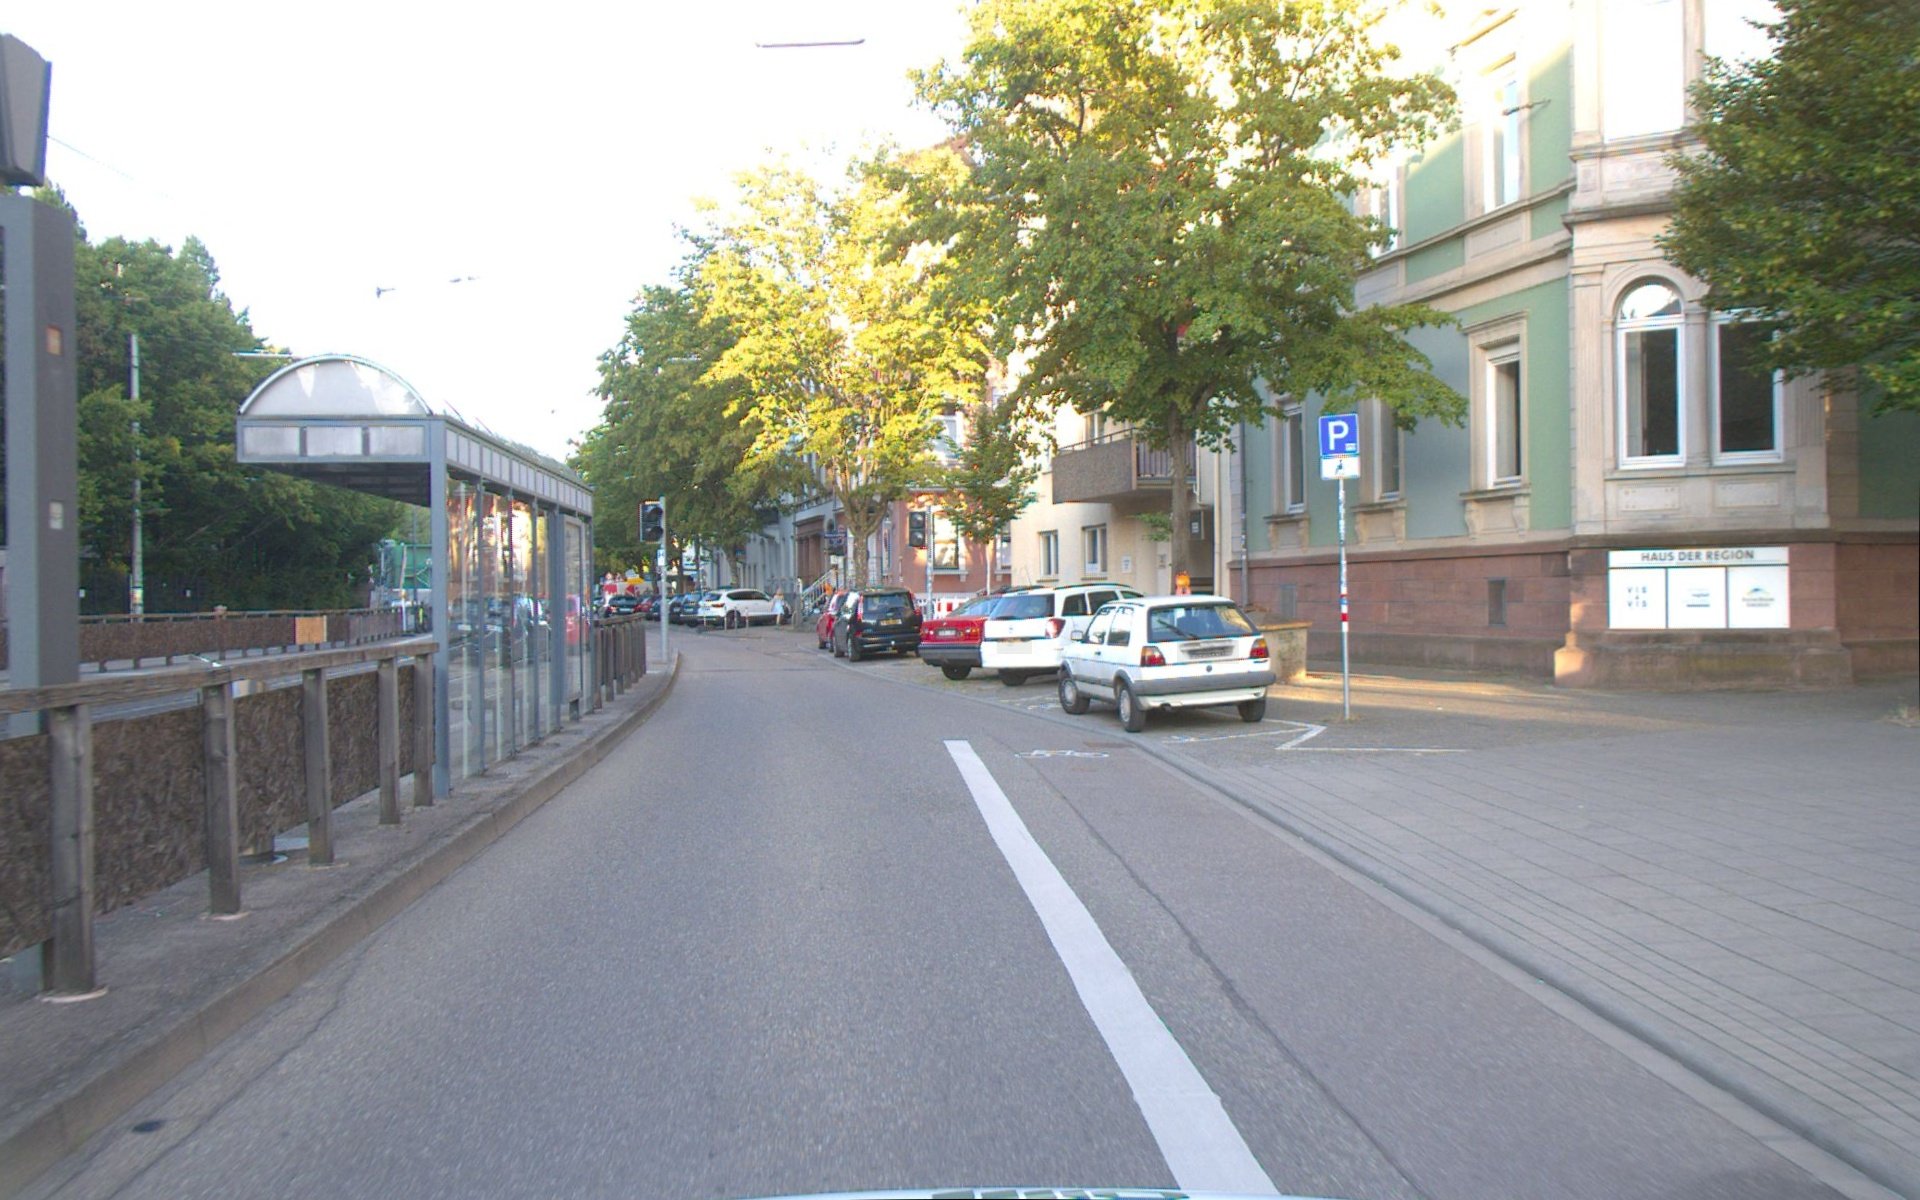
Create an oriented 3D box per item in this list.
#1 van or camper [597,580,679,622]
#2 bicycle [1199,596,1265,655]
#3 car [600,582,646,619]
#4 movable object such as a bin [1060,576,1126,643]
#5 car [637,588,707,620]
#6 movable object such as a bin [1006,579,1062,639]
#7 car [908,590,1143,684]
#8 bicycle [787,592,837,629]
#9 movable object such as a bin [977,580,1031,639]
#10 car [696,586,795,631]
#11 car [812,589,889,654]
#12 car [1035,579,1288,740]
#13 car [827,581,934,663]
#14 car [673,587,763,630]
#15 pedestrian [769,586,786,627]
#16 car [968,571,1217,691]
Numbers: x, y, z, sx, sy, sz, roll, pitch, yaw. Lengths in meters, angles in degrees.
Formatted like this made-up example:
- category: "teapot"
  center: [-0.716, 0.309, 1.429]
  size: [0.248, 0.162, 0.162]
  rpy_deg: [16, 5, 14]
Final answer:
- category: "van or camper"
  center: [-22.664, 0.037, 116.546]
  size: [2.048, 2.574, 5.523]
  rpy_deg: [-3, 1, 40]
- category: "bicycle"
  center: [5.163, 0.470, 31.451]
  size: [0.640, 1.093, 1.549]
  rpy_deg: [-1, 0, -16]
- category: "car"
  center: [-16.049, 0.029, 78.669]
  size: [1.851, 1.648, 3.983]
  rpy_deg: [2, -1, -16]
- category: "movable object such as a bin"
  center: [3.102, 0.213, 38.734]
  size: [1.095, 1.528, 1.476]
  rpy_deg: [-1, 0, -16]
- category: "car"
  center: [-18.285, 0.266, 105.158]
  size: [3.924, 1.631, 1.812]
  rpy_deg: [-6, 2, -42]
- category: "movable object such as a bin"
  center: [1.917, 0.222, 42.897]
  size: [1.122, 1.528, 1.265]
  rpy_deg: [-1, 0, -16]
- category: "car"
  center: [1.188, 0.593, 28.631]
  size: [4.176, 1.479, 1.619]
  rpy_deg: [-1, 0, -43]
- category: "bicycle"
  center: [-5.255, 0.370, 58.896]
  size: [0.590, 1.288, 1.909]
  rpy_deg: [-1, 0, 39]
- category: "movable object such as a bin"
  center: [1.166, 0.251, 44.188]
  size: [1.055, 1.528, 1.312]
  rpy_deg: [-1, 0, -17]
- category: "car"
  center: [-9.037, 0.338, 69.898]
  size: [1.645, 1.655, 3.929]
  rpy_deg: [-1, 2, 44]
- category: "car"
  center: [-2.914, 0.530, 43.543]
  size: [1.537, 1.562, 3.684]
  rpy_deg: [-3, 1, -10]
- category: "car"
  center: [2.253, 0.621, 19.564]
  size: [1.651, 1.579, 3.987]
  rpy_deg: [-4, 1, -13]
- category: "car"
  center: [-1.872, 0.468, 37.654]
  size: [1.713, 1.660, 4.075]
  rpy_deg: [-3, 1, -12]
- category: "car"
  center: [-11.273, 0.387, 77.211]
  size: [1.865, 1.697, 3.939]
  rpy_deg: [-3, 1, 37]
- category: "pedestrian"
  center: [-7.344, 0.268, 66.443]
  size: [0.577, 1.637, 0.622]
  rpy_deg: [-1, 0, -15]
- category: "car"
  center: [2.178, 0.428, 26.298]
  size: [1.693, 1.755, 4.181]
  rpy_deg: [0, 1, 44]
